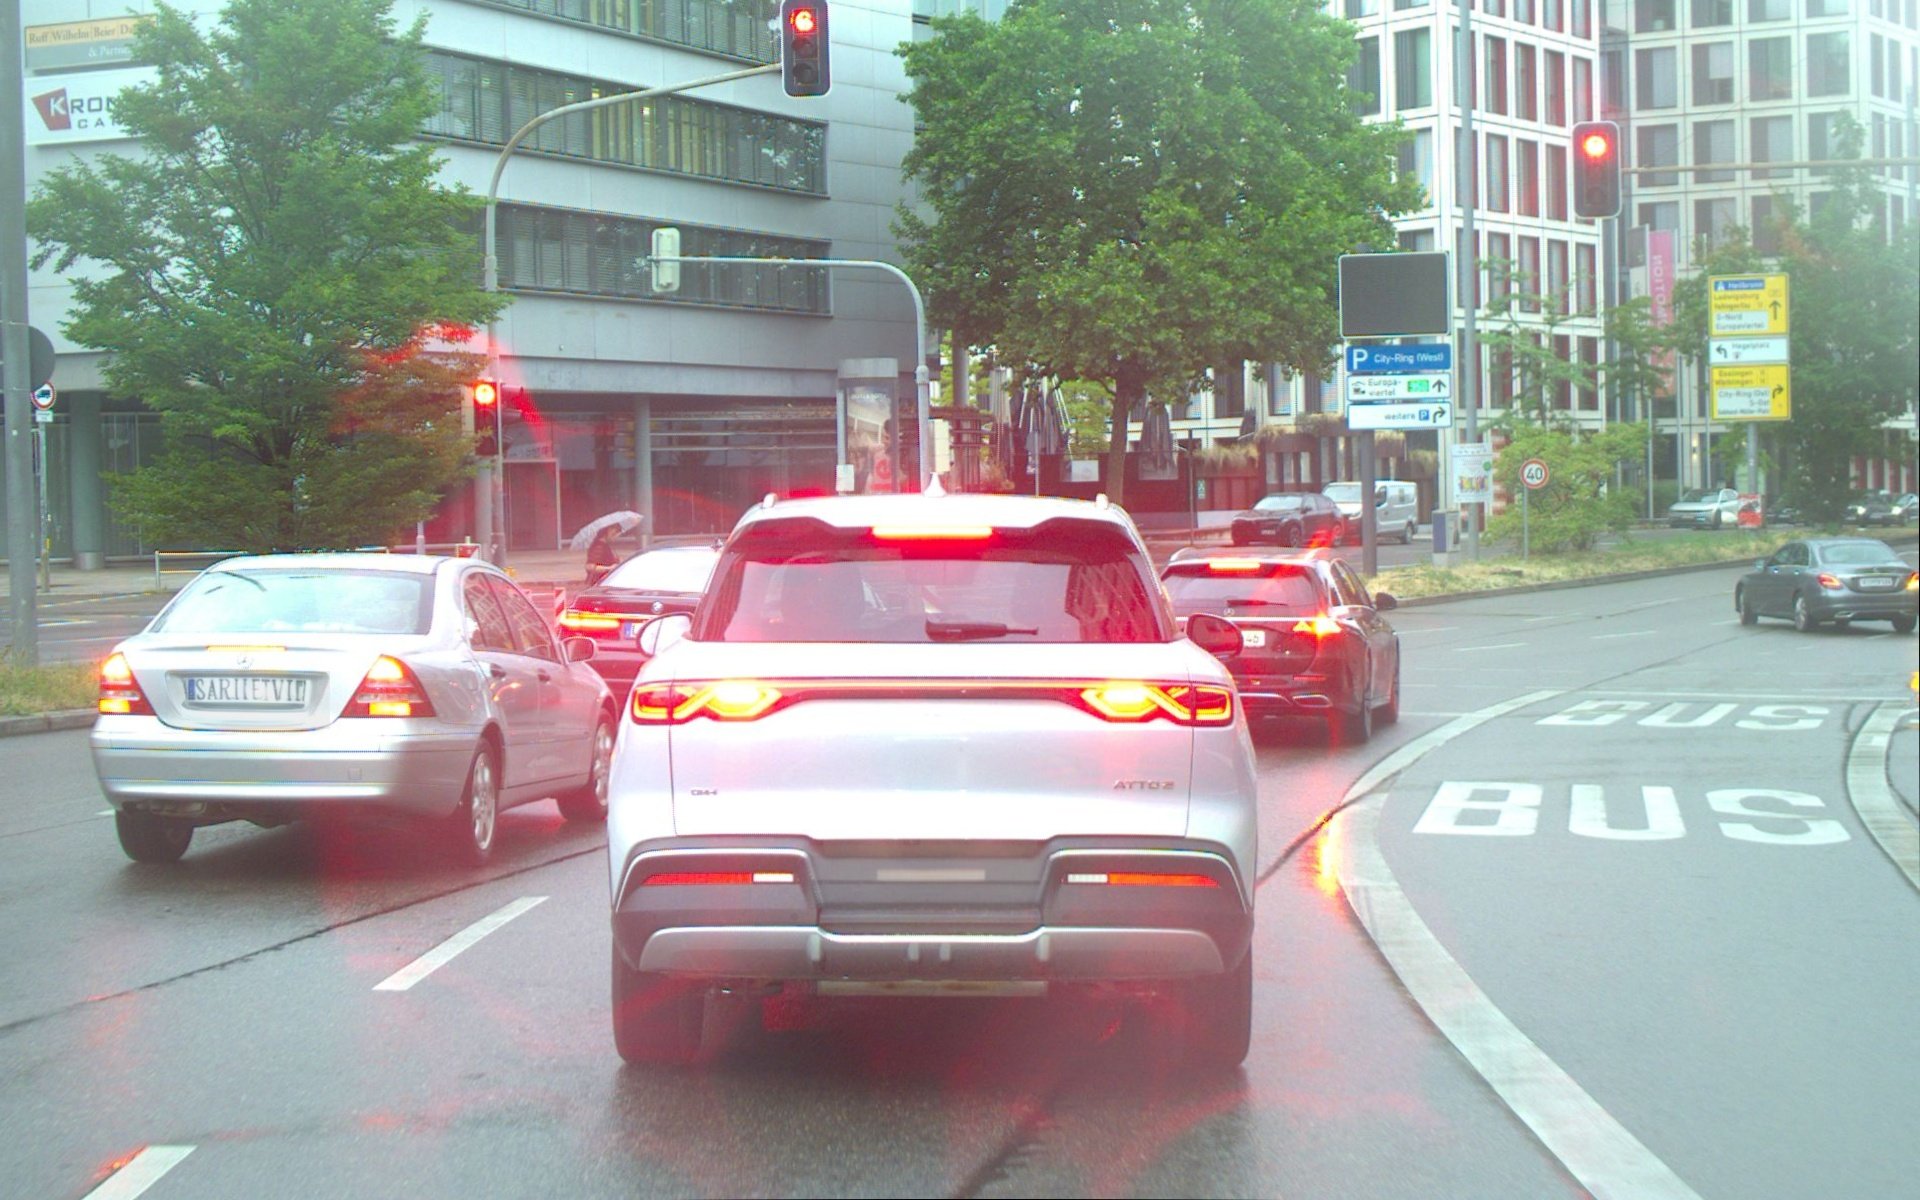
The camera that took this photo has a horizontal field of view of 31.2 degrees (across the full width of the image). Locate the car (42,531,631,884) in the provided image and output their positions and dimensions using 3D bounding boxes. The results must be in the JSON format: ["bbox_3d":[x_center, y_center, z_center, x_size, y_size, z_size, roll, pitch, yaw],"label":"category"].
[{"bbox_3d":[-2.881,0.419,16.829,1.682,1.481,4.196,0,1,7],"label":"car"}]

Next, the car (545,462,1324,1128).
[{"bbox_3d":[-0.080,0.446,11.088,1.993,1.703,4.483,0,1,0],"label":"car"}]

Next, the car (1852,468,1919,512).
[{"bbox_3d":[38.247,-4.531,141.288,1.997,1.700,3.994,1,3,31],"label":"car"}]

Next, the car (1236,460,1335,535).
[{"bbox_3d":[9.590,-2.987,101.006,1.739,2.154,4.489,1,1,21],"label":"car"}]

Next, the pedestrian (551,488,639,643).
[{"bbox_3d":[-4.135,-0.397,38.986,0.922,1.732,0.730,0,1,-2],"label":"pedestrian"}]

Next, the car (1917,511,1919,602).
[{"bbox_3d":[20.531,-0.871,68.576,2.049,1.759,4.351,2,2,25],"label":"car"}]

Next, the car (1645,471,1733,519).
[{"bbox_3d":[27.394,-3.968,129.069,1.997,1.700,4.302,1,3,30],"label":"car"}]

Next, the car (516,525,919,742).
[{"bbox_3d":[-1.771,0.191,26.548,1.956,1.525,3.998,0,1,14],"label":"car"}]

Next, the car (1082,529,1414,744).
[{"bbox_3d":[2.326,0.215,26.798,1.956,1.525,3.998,0,1,14],"label":"car"}]

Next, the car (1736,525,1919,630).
[{"bbox_3d":[13.601,-0.387,53.617,1.910,1.505,4.357,1,2,-1],"label":"car"}]

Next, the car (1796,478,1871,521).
[{"bbox_3d":[37.409,-4.320,147.257,1.997,1.700,4.302,1,3,30],"label":"car"}]
